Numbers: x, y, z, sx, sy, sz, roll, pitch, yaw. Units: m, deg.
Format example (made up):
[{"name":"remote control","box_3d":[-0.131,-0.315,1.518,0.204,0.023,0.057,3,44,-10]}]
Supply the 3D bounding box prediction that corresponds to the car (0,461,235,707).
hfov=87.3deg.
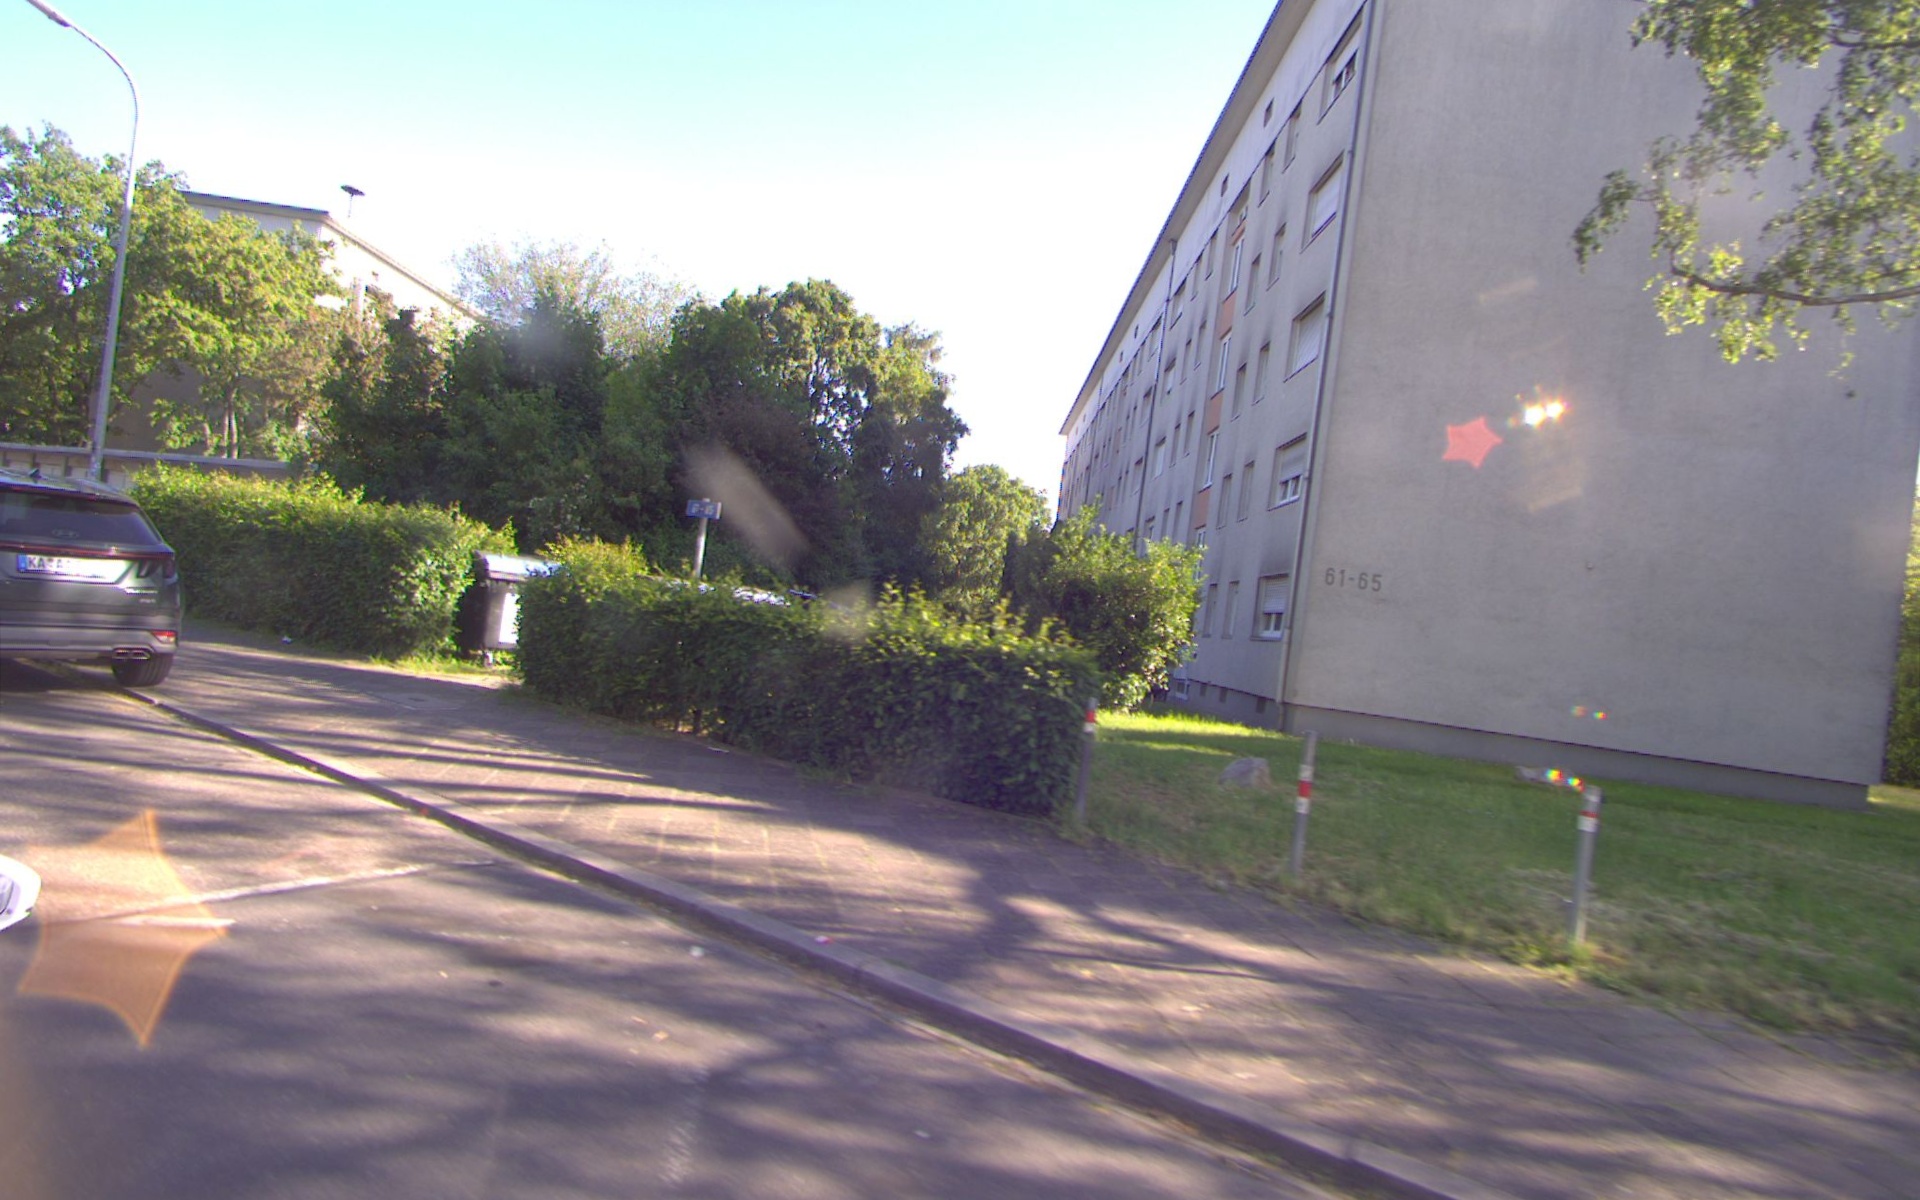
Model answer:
[{"name":"car","box_3d":[-8.308,-0.307,8.410,4.551,1.658,1.912,7,-2,32]}]

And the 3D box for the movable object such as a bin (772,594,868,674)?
[{"name":"movable object such as a bin","box_3d":[-2.743,0.686,19.834,1.255,1.368,1.259,8,-1,21]}]

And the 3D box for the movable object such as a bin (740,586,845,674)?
[{"name":"movable object such as a bin","box_3d":[-3.035,0.556,18.341,1.255,1.368,1.259,8,-1,23]}]

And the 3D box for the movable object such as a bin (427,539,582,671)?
[{"name":"movable object such as a bin","box_3d":[-5.890,0.077,13.053,1.073,1.492,1.324,7,-1,36]}]

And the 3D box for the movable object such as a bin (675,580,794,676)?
[{"name":"movable object such as a bin","box_3d":[-3.748,0.473,16.774,1.257,1.368,1.257,7,-1,31]}]

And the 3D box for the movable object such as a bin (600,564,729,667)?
[{"name":"movable object such as a bin","box_3d":[-4.591,0.251,15.669,1.257,1.368,1.257,7,-1,31]}]
